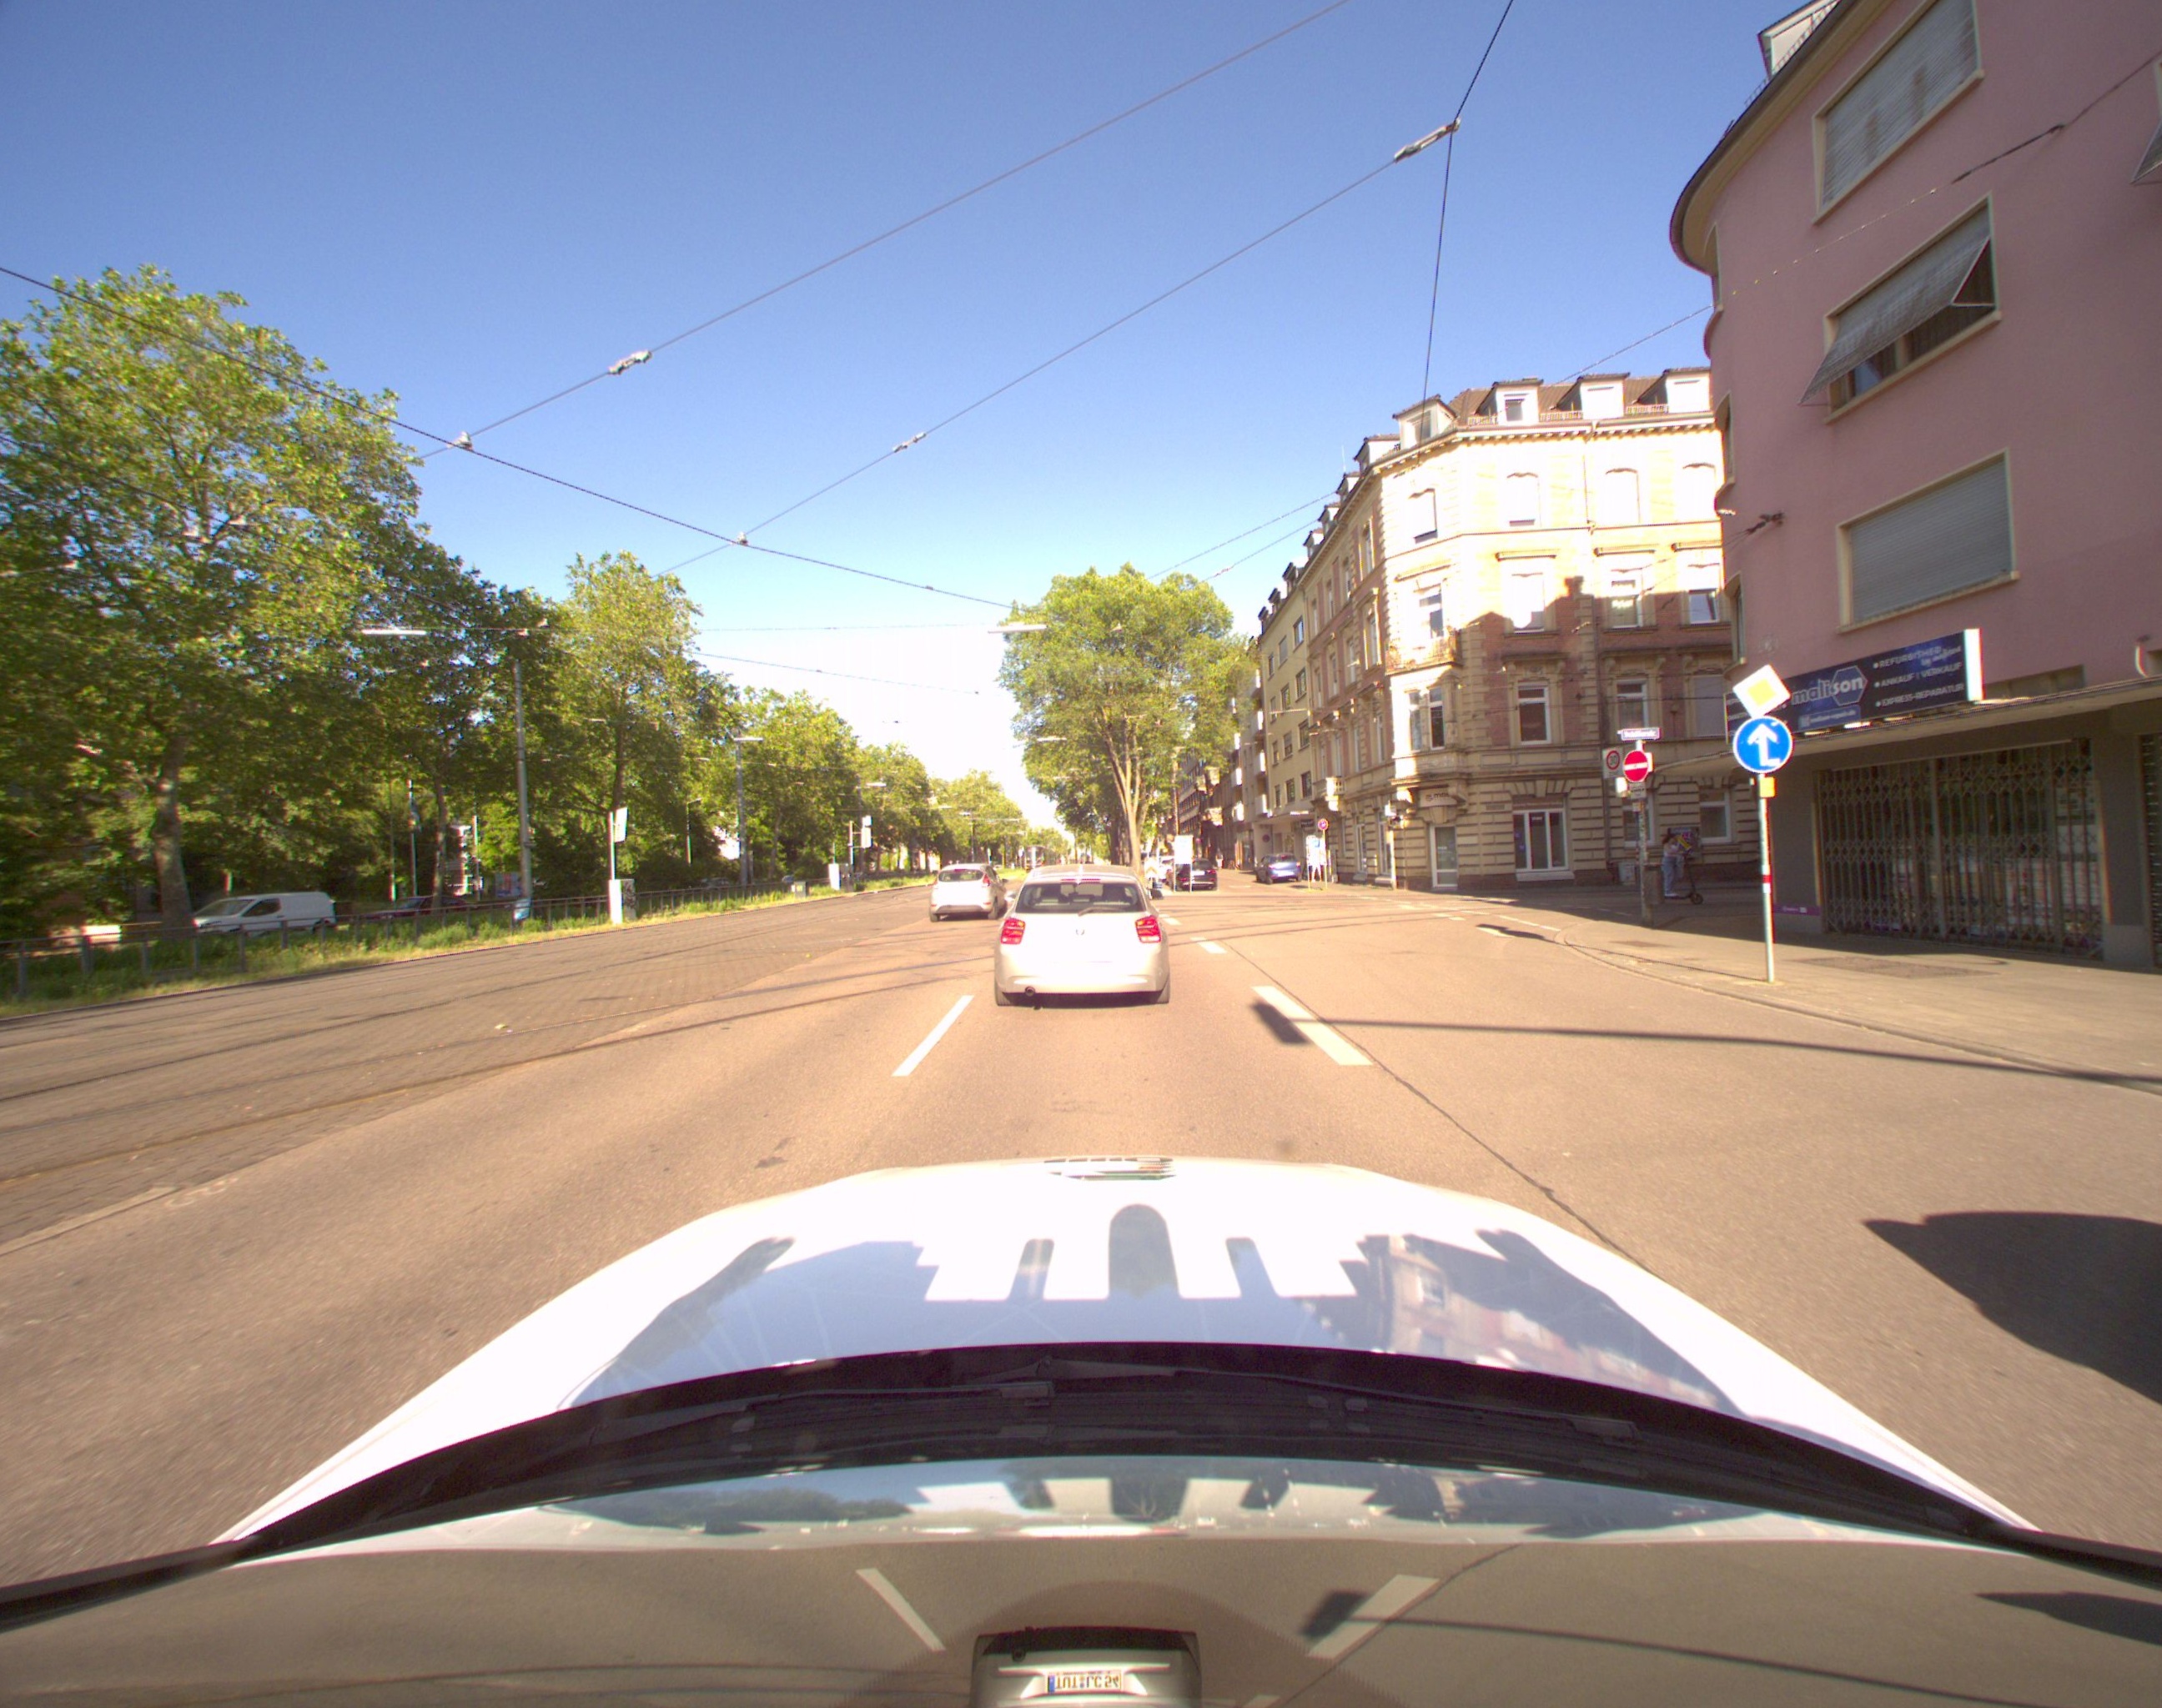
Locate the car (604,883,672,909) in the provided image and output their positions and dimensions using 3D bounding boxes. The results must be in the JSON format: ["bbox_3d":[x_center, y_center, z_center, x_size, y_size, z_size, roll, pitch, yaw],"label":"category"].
[{"bbox_3d":[-28.274,2.659,52.134,1.929,1.509,4.279,-2,-1,1],"label":"car"}]

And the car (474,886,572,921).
[{"bbox_3d":[-27.978,2.458,41.014,1.929,1.509,4.279,-2,-1,1],"label":"car"}]

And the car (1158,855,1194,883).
[{"bbox_3d":[5.510,0.846,47.588,1.718,1.507,3.555,-1,0,1],"label":"car"}]

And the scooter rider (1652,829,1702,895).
[{"bbox_3d":[14.041,0.195,19.196,0.466,1.505,0.808,-2,0,-11],"label":"scooter rider"}]

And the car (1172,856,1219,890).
[{"bbox_3d":[5.072,0.807,36.544,1.728,1.433,3.680,-1,0,2],"label":"car"}]

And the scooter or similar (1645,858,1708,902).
[{"bbox_3d":[14.024,0.608,19.219,0.337,0.988,1.279,-2,0,-11],"label":"scooter or similar"}]

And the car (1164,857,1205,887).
[{"bbox_3d":[5.271,0.874,41.811,1.737,1.433,3.555,-1,0,1],"label":"car"}]

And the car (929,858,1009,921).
[{"bbox_3d":[-2.901,0.885,21.868,1.604,1.467,3.888,-2,0,-1],"label":"car"}]

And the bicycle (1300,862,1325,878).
[{"bbox_3d":[12.009,0.827,42.332,0.752,0.770,1.946,-2,0,1],"label":"bicycle"}]

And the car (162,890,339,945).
[{"bbox_3d":[-28.054,2.080,27.721,1.663,1.509,4.146,-2,0,1],"label":"car"}]

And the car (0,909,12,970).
[{"bbox_3d":[-28.229,2.197,18.761,1.663,1.509,4.146,-2,0,1],"label":"car"}]

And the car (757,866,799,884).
[{"bbox_3d":[-27.656,1.920,74.586,1.929,1.509,4.850,-2,-1,1],"label":"car"}]

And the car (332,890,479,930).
[{"bbox_3d":[-27.742,2.247,33.704,1.929,1.349,4.850,-2,-1,1],"label":"car"}]

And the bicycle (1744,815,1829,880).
[{"bbox_3d":[23.160,-0.213,26.754,2.171,2.013,0.606,-2,-1,2],"label":"bicycle"}]

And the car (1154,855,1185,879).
[{"bbox_3d":[5.852,0.859,54.150,1.718,1.507,3.555,-1,0,1],"label":"car"}]

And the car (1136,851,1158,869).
[{"bbox_3d":[5.914,0.537,72.936,1.718,1.507,3.555,-1,0,1],"label":"car"}]

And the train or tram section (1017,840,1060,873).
[{"bbox_3d":[-5.465,0.313,109.018,3.953,3.866,17.499,-2,0,3],"label":"train or tram section"}]

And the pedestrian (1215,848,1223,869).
[{"bbox_3d":[12.314,0.384,72.663,0.503,1.802,0.806,-2,0,2],"label":"pedestrian"}]

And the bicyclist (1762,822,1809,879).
[{"bbox_3d":[23.116,-0.120,26.743,0.852,1.829,0.750,-2,0,2],"label":"bicyclist"}]

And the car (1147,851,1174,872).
[{"bbox_3d":[5.880,0.523,60.449,1.718,1.507,3.555,-1,0,1],"label":"car"}]

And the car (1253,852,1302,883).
[{"bbox_3d":[10.135,0.676,42.264,1.729,1.519,3.638,-1,0,2],"label":"car"}]

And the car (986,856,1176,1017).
[{"bbox_3d":[0.082,0.768,9.493,1.733,1.467,4.002,-1,0,2],"label":"car"}]
